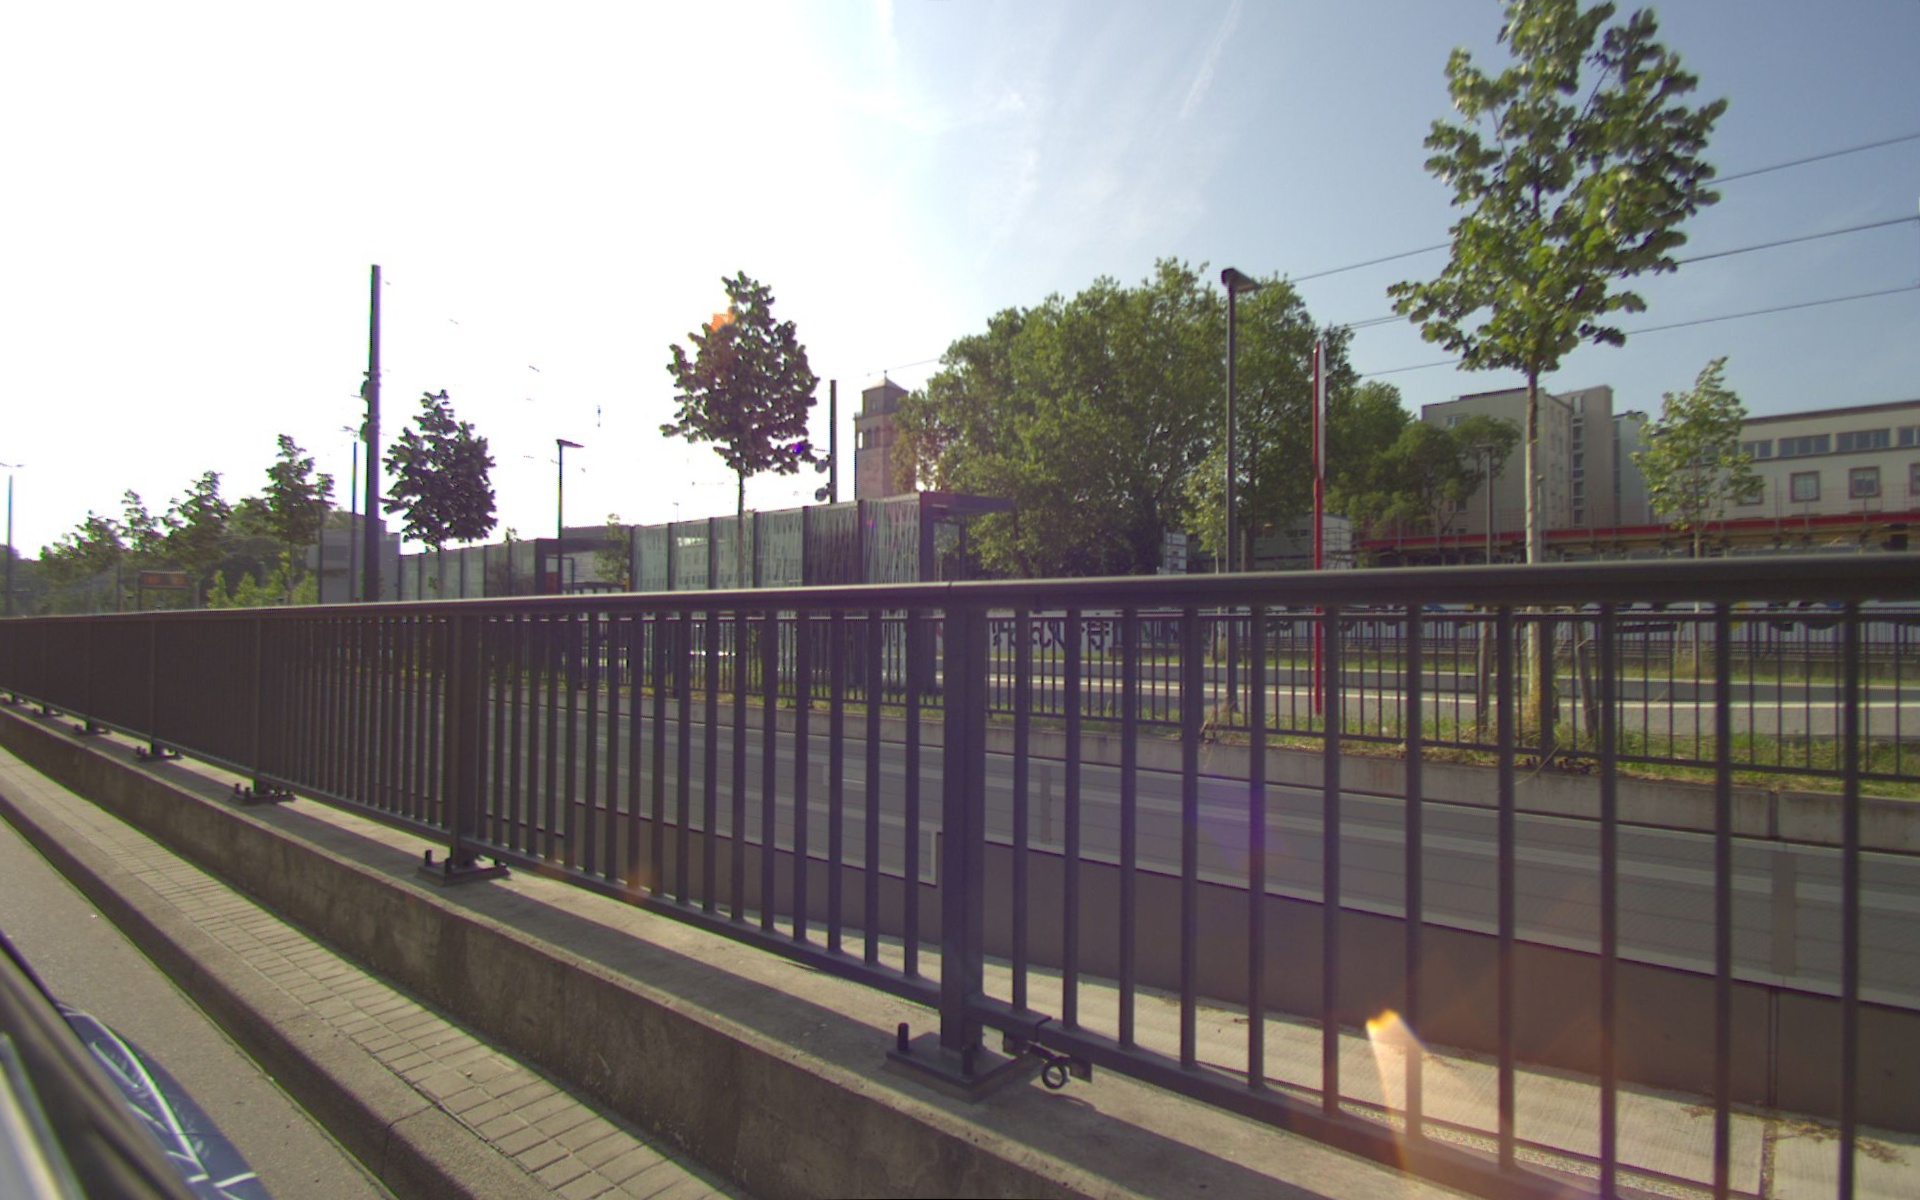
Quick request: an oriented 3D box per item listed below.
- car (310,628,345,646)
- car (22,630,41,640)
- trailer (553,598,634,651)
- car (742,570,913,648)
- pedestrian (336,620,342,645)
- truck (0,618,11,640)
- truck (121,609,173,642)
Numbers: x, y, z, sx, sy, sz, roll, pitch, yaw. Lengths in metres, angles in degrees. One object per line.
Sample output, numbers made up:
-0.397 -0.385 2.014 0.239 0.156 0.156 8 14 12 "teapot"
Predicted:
-52.913 3.103 84.610 3.432 1.474 1.579 -1 -2 42 "car"
-149.360 5.593 162.716 3.994 1.613 1.624 -1 -1 38 "car"
-20.364 1.323 56.178 5.019 2.802 2.023 -1 0 41 "trailer"
-6.692 0.482 49.989 9.228 3.539 3.022 -1 -1 41 "car"
-41.652 2.179 67.883 0.365 1.689 0.642 0 -1 -32 "pedestrian"
-172.001 5.148 180.143 10.409 3.838 2.943 -2 -2 38 "truck"
-90.921 2.880 113.103 8.885 3.614 2.990 -2 -3 41 "truck"
